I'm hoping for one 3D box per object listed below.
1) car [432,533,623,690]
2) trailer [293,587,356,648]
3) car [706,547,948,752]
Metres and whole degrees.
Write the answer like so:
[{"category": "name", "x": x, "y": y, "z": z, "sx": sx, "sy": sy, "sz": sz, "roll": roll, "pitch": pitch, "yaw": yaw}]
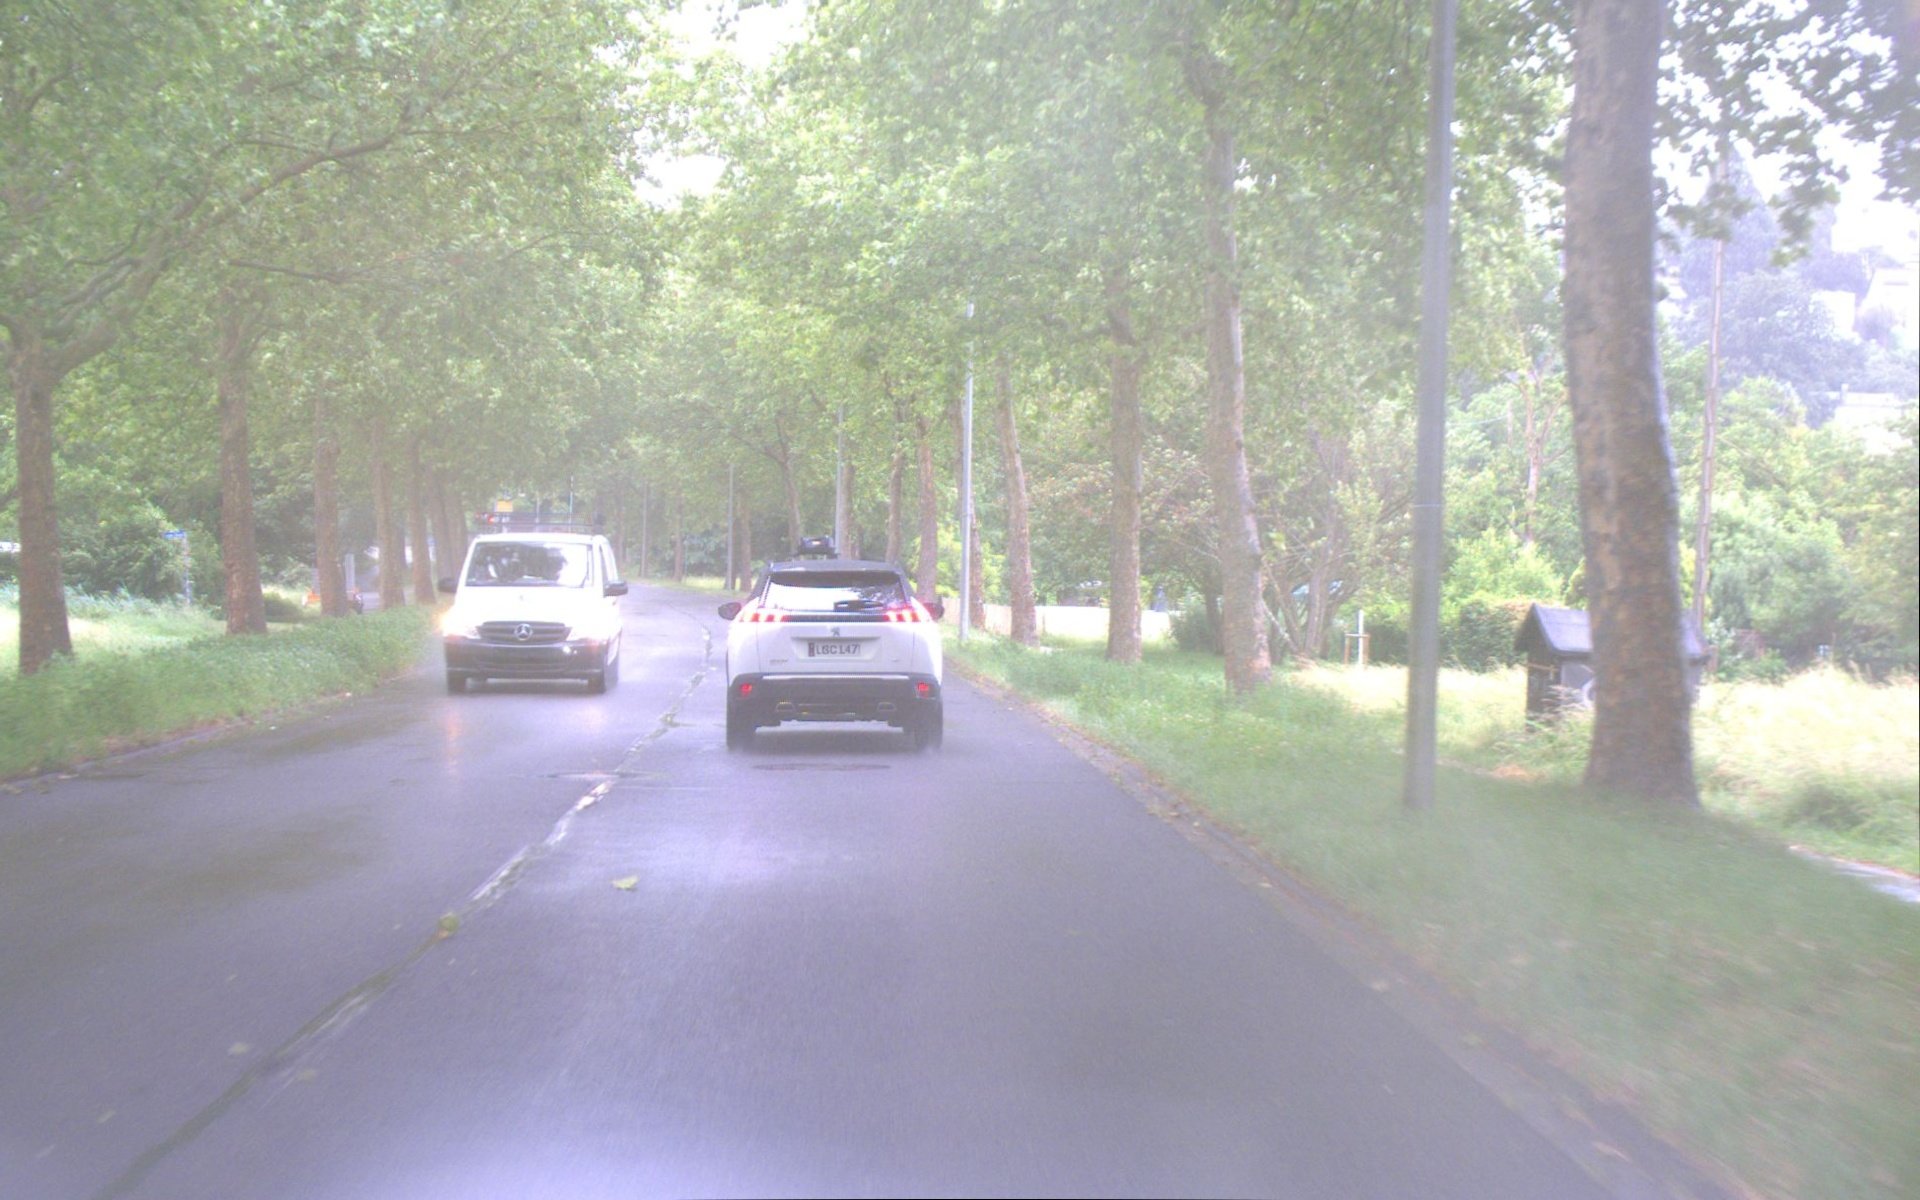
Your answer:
[{"category": "car", "x": -5.162, "y": 0.103, "z": 41.594, "sx": 1.862, "sy": 1.744, "sz": 5.016, "roll": 1, "pitch": 1, "yaw": -3}, {"category": "trailer", "x": -28.270, "y": 0.752, "z": 153.105, "sx": 2.484, "sy": 2.558, "sz": 5.334, "roll": 1, "pitch": 1, "yaw": -8}, {"category": "car", "x": -1.062, "y": 0.360, "z": 29.128, "sx": 1.794, "sy": 1.573, "sz": 3.844, "roll": 1, "pitch": 1, "yaw": 1}]
